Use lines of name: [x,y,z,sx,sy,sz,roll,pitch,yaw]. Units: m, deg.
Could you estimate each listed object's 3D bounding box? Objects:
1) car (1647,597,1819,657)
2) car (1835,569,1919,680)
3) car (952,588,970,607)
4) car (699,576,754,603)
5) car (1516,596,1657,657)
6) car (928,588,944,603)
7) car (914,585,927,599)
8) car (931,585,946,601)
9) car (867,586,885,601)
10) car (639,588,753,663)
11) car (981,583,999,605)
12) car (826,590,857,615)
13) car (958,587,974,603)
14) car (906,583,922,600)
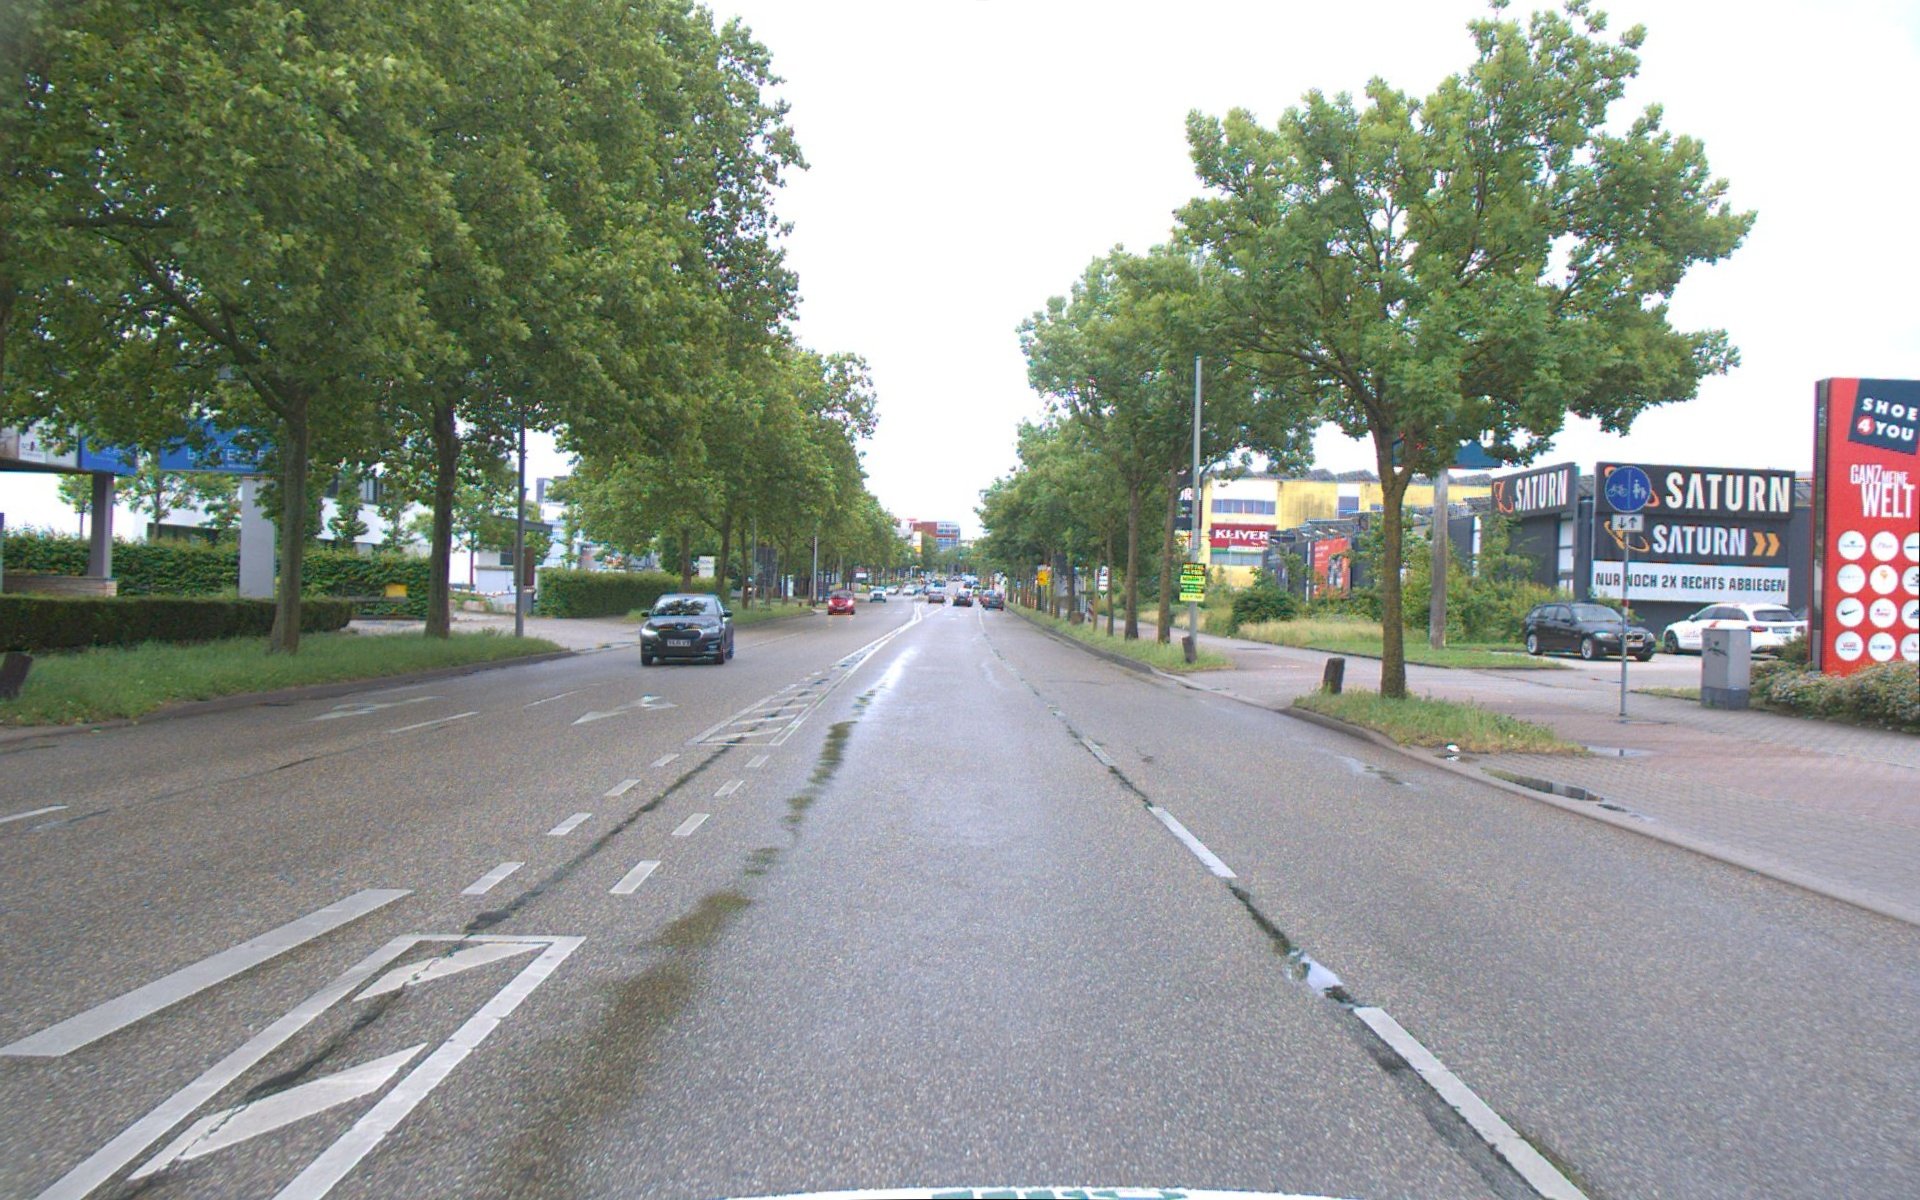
car: [21.231,0.706,45.691,1.846,1.494,4.942,1,1,-9]
car: [19.643,0.469,31.829,4.732,2.049,1.986,1,0,-9]
car: [0.120,-0.261,174.085,1.709,2.049,4.001,0,0,1]
car: [-17.838,-0.800,126.606,3.905,1.958,1.826,0,0,0]
car: [16.445,0.662,43.618,1.548,1.453,4.257,1,1,-9]
car: [-2.859,-0.523,196.839,1.709,1.730,4.001,1,0,1]
car: [-5.688,-1.157,238.809,1.790,2.049,3.998,1,0,-2]
car: [-2.680,-0.887,211.547,1.852,1.909,4.124,1,0,0]
car: [-9.650,-0.756,190.025,1.669,1.767,4.001,1,0,2]
car: [-5.485,0.499,34.841,1.767,1.488,3.846,0,0,0]
car: [2.885,-0.534,157.346,1.709,2.049,4.001,1,0,1]
car: [-7.606,0.145,106.132,1.690,1.544,3.821,1,0,0]
car: [0.722,-0.609,187.635,1.709,1.767,4.001,1,0,1]
car: [-5.839,-1.054,209.977,1.953,2.049,3.999,1,0,-1]
